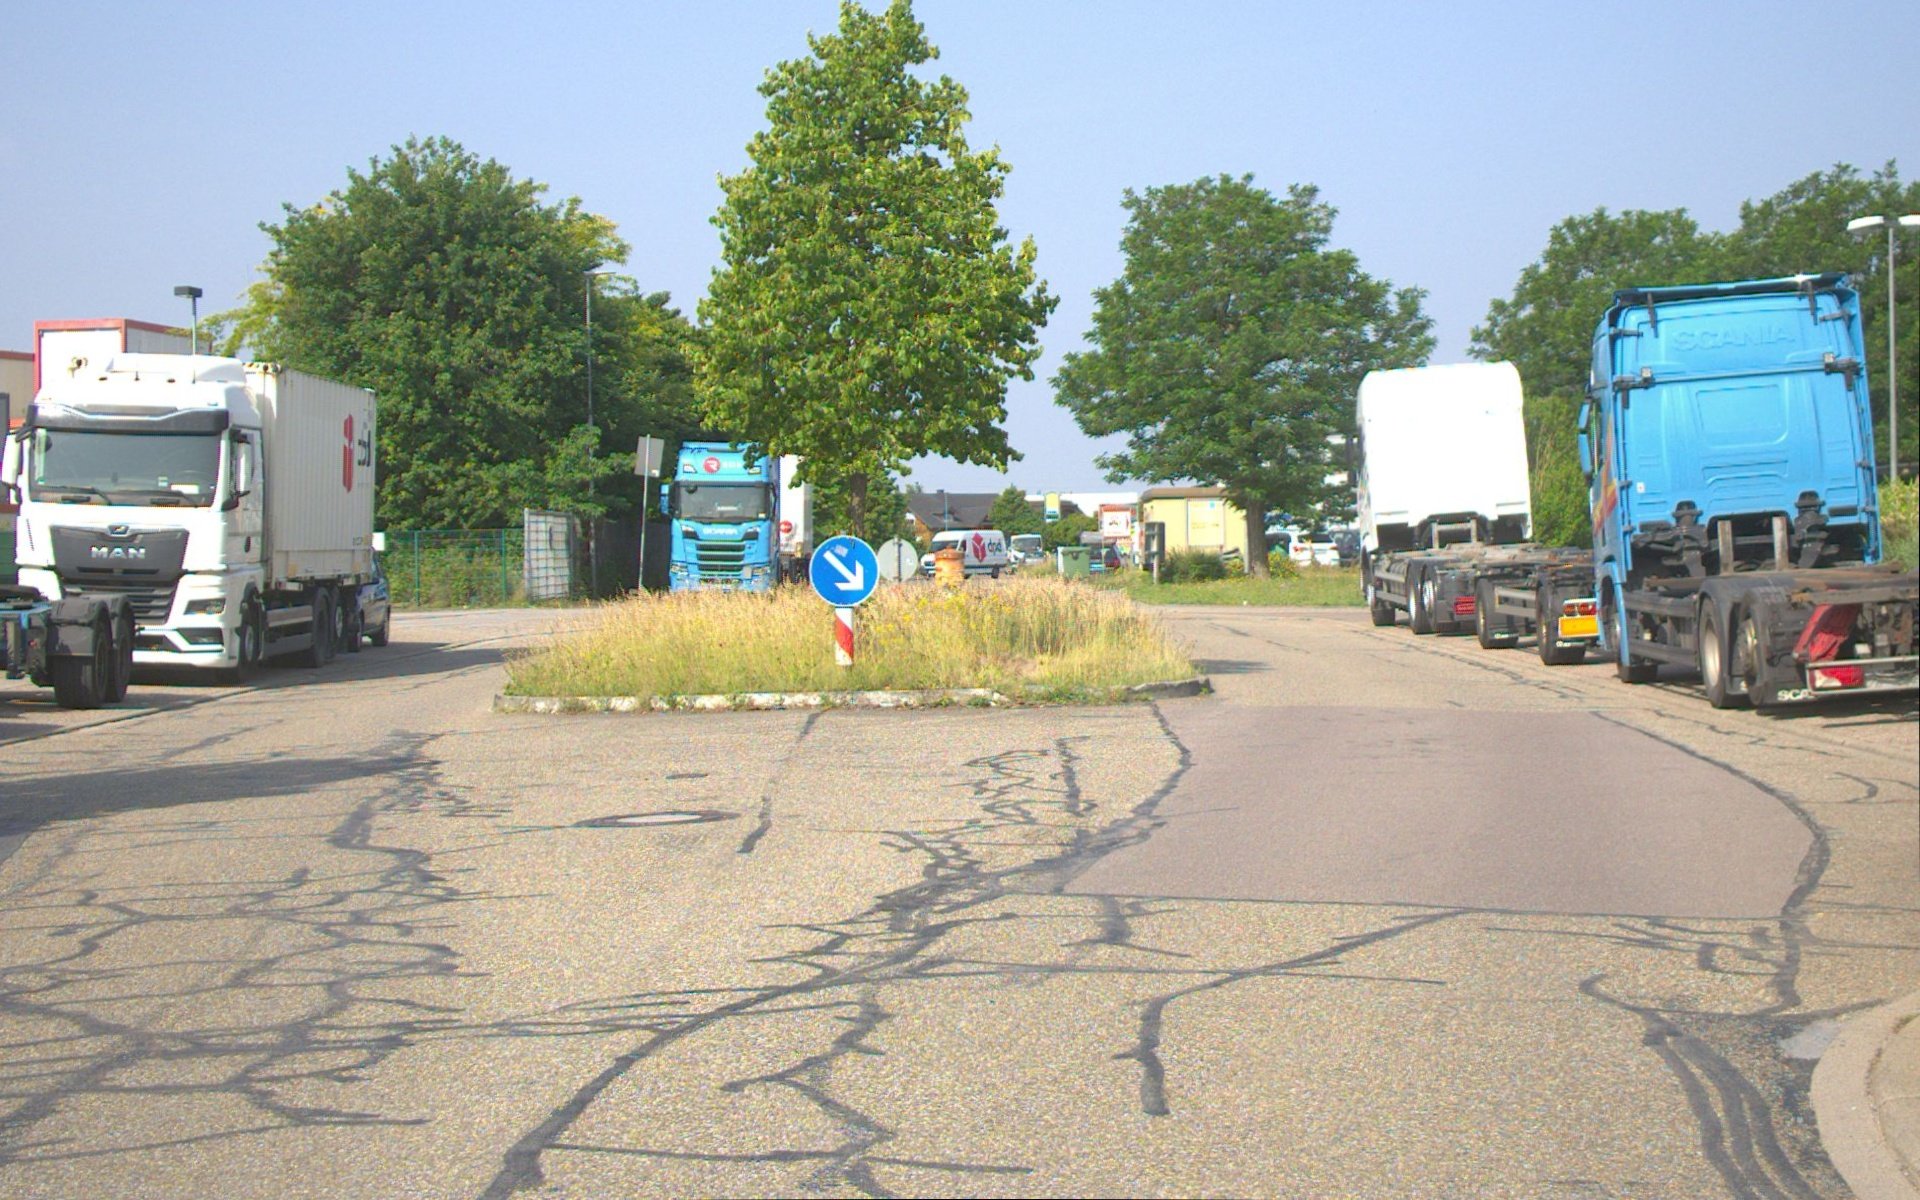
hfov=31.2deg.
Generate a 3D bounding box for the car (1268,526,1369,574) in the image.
[{"bbox_3d":[10.430,-1.439,100.201,1.667,1.325,3.664,1,0,-16],"label":"car"}]

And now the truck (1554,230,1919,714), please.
[{"bbox_3d":[7.603,-1.025,30.433,2.888,3.523,9.755,-4,0,1],"label":"truck"}]

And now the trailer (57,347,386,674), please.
[{"bbox_3d":[-9.570,-1.075,45.409,2.699,3.908,7.575,1,0,0],"label":"trailer"}]

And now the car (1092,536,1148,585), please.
[{"bbox_3d":[5.843,-1.430,125.916,1.792,1.744,4.000,1,0,-1],"label":"car"}]

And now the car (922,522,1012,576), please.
[{"bbox_3d":[0.397,-2.671,181.903,1.997,2.724,5.777,1,0,32],"label":"car"}]

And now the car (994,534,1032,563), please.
[{"bbox_3d":[3.495,-3.407,226.651,1.770,1.809,4.001,1,0,-9],"label":"car"}]

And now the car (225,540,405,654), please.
[{"bbox_3d":[-9.754,-0.083,52.295,1.993,1.635,4.588,0,1,-2],"label":"car"}]

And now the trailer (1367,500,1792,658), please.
[{"bbox_3d":[7.668,-0.342,45.333,2.746,1.568,16.172,-3,1,1],"label":"trailer"}]

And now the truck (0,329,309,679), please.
[{"bbox_3d":[-9.542,-1.081,40.973,2.708,3.908,4.297,1,0,0],"label":"truck"}]

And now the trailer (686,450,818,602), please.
[{"bbox_3d":[-5.585,-1.885,94.123,2.831,3.830,12.036,1,0,0],"label":"trailer"}]

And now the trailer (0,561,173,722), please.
[{"bbox_3d":[-9.847,0.355,34.356,2.681,1.448,5.077,0,1,2],"label":"trailer"}]

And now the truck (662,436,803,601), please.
[{"bbox_3d":[-5.563,-1.905,85.500,2.825,3.813,9.672,1,0,0],"label":"truck"}]

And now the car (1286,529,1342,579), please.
[{"bbox_3d":[12.061,-1.567,117.214,1.717,1.612,3.999,1,0,4],"label":"car"}]

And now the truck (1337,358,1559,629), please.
[{"bbox_3d":[7.649,-1.650,54.379,2.746,3.968,4.000,-3,1,1],"label":"truck"}]
